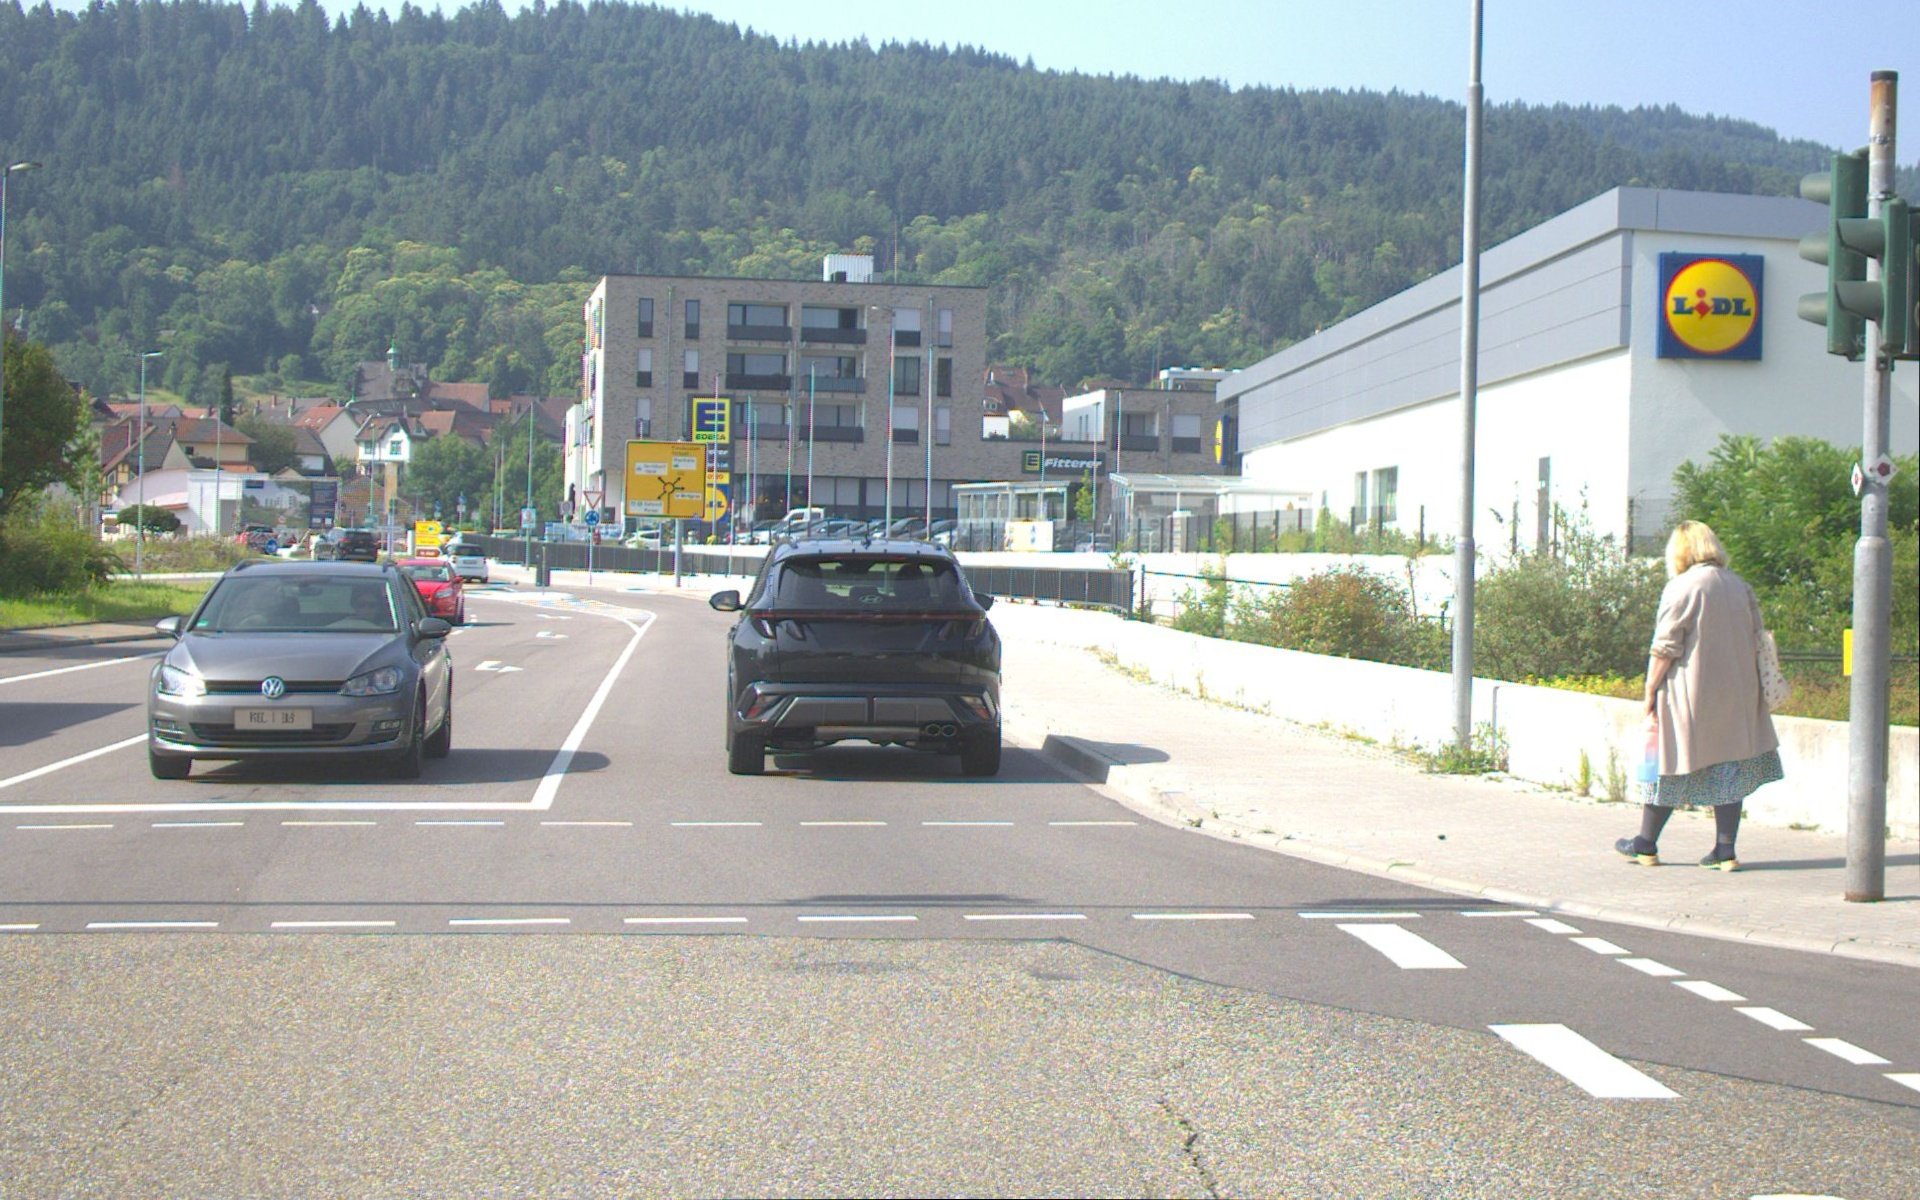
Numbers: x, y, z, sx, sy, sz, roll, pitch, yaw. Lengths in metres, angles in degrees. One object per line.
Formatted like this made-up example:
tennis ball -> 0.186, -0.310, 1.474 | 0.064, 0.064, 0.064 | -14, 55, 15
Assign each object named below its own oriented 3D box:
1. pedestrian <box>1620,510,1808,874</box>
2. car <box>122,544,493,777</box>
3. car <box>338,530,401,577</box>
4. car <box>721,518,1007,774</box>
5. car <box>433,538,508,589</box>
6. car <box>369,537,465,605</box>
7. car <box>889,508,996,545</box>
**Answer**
pedestrian -> 3.510, 0.419, 16.039 | 0.710, 1.665, 0.593 | 0, 1, -3
car -> -4.420, 0.358, 23.902 | 1.772, 1.468, 4.220 | 0, 1, 0
car -> -25.829, -2.042, 150.395 | 1.993, 2.007, 4.000 | 1, 1, 1
car -> -0.608, 0.281, 24.741 | 1.881, 1.678, 4.000 | 1, 1, 1
car -> -19.606, -1.484, 137.604 | 1.993, 2.007, 4.001 | 0, 1, -23
car -> -12.264, -0.671, 77.869 | 1.837, 1.487, 4.433 | 0, 1, -5
car -> -0.712, -2.999, 140.488 | 4.060, 1.399, 1.486 | 1, 1, -23
